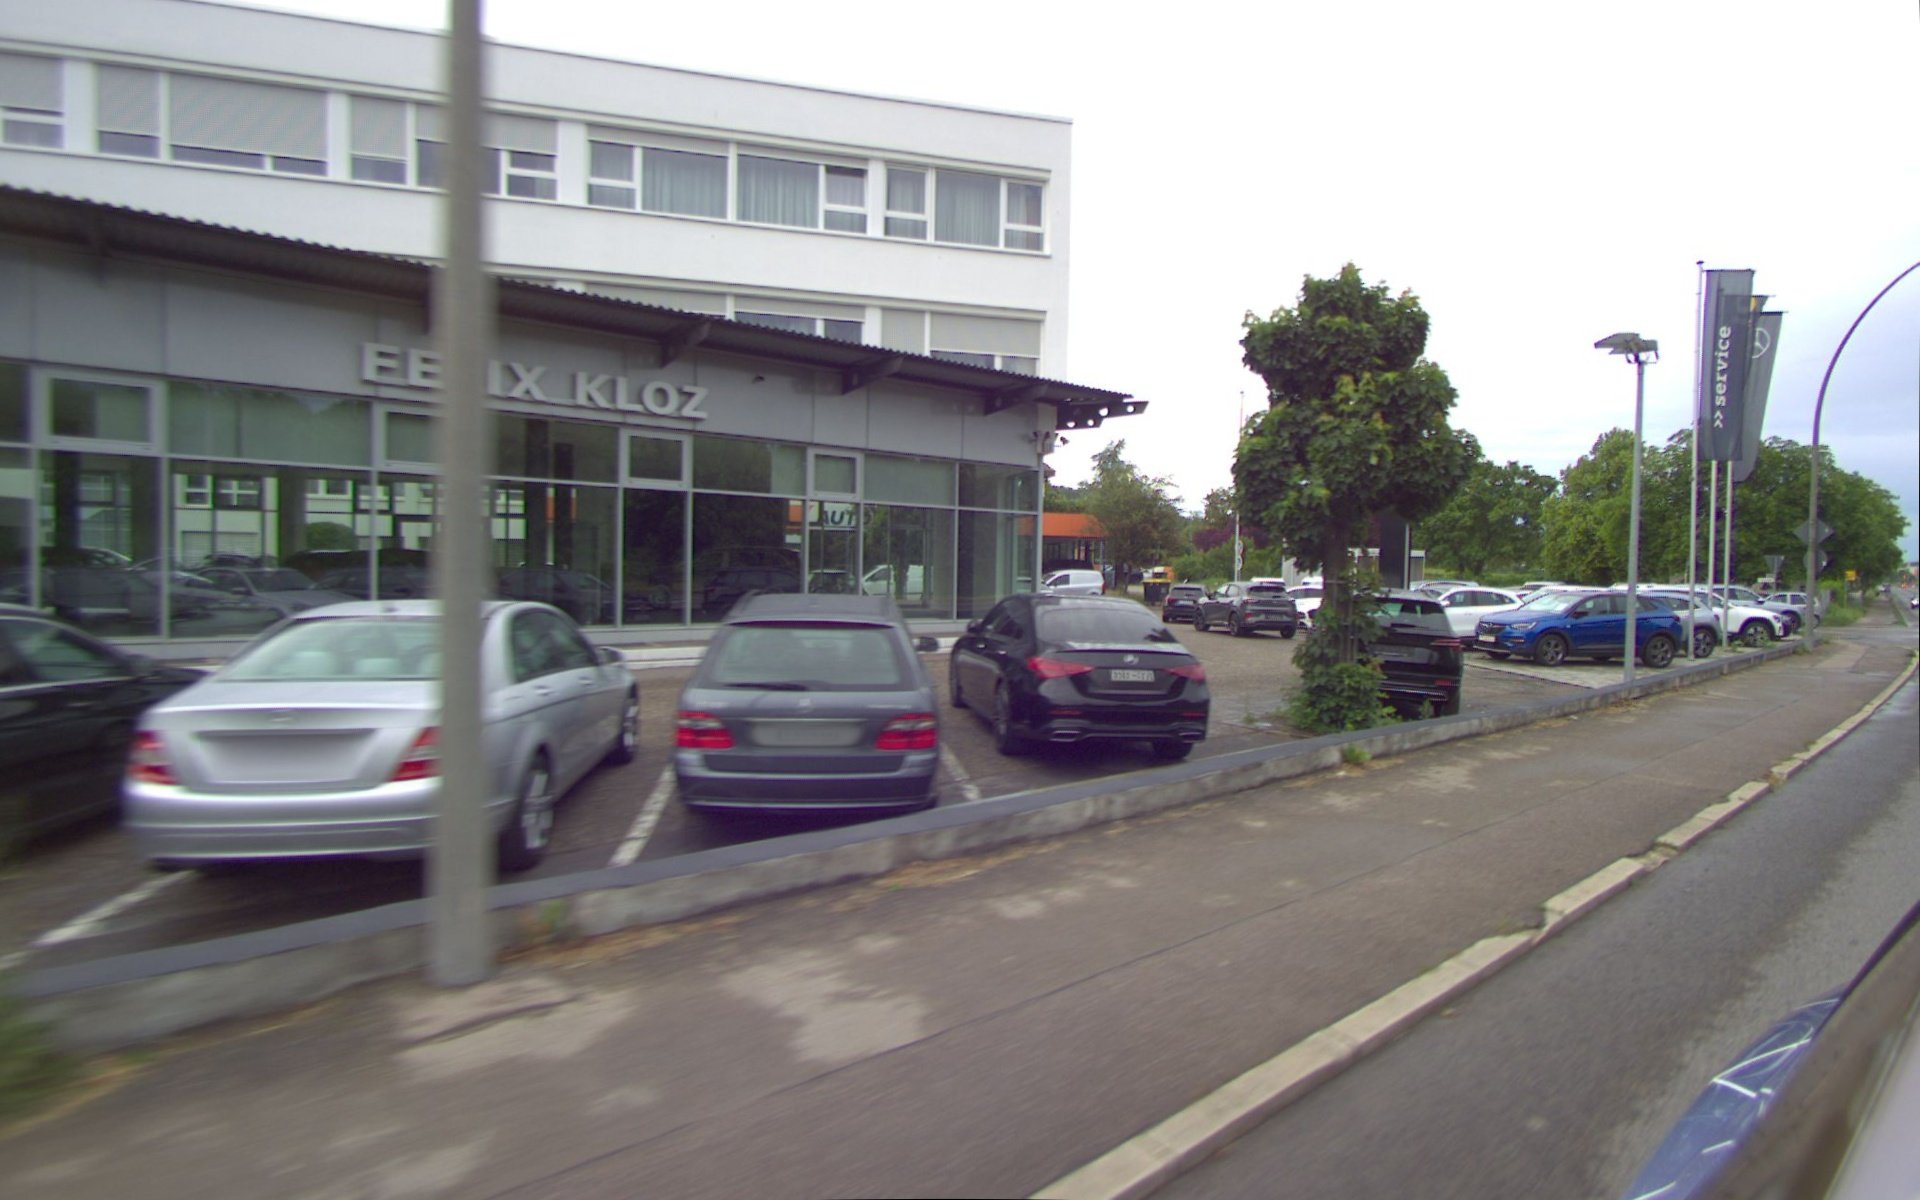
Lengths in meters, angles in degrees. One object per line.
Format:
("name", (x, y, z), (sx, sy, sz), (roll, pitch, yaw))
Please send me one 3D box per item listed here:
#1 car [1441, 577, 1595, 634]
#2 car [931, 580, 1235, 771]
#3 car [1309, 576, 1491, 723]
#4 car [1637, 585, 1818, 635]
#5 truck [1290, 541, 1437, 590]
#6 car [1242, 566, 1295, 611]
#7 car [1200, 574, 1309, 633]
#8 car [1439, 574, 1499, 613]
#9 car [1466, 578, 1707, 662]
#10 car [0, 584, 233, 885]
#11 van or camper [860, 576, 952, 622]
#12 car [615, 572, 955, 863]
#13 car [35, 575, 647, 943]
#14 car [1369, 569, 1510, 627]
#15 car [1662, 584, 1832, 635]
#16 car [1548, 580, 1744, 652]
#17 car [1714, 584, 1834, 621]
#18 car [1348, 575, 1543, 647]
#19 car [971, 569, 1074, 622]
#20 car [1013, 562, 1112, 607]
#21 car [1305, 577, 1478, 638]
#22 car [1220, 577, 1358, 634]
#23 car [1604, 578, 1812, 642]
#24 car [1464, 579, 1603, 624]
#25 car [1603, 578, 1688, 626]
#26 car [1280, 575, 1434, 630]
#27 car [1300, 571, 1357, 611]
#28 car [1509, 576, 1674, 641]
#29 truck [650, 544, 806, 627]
("car", (17.266, 0.141, 31.438), (3.845, 1.470, 1.686), (-2, 6, -5))
("car", (0.954, 0.574, 10.389), (1.894, 1.497, 4.451), (1, 1, -9))
("car", (5.904, 0.531, 14.082), (1.818, 1.628, 4.523), (2, 2, 18))
("car", (24.014, 0.289, 31.827), (4.084, 1.411, 1.843), (1, 1, 16))
("truck", (23.515, -2.011, 58.931), (8.299, 2.656, 2.794), (-1, 0, -22))
("car", (11.670, -0.449, 38.186), (1.750, 1.571, 3.429), (2, 1, 19))
("car", (8.388, 0.046, 29.130), (1.745, 1.496, 3.568), (2, 2, -6))
("car", (20.924, -0.268, 41.597), (2.055, 1.478, 4.720), (2, 1, 27))
("car", (13.864, 0.425, 22.517), (4.277, 1.652, 1.847), (1, 3, -7))
("car", (-5.853, 0.697, 5.242), (1.935, 1.511, 3.976), (-1, 0, -12))
("van or camper", (-2.523, -0.066, 46.743), (3.916, 2.066, 1.813), (0, 1, -17))
("car", (-1.144, 0.644, 7.697), (1.861, 1.575, 4.004), (-1, 0, -5))
("car", (-3.308, 0.636, 6.500), (1.800, 1.485, 4.182), (0, 3, -7))
("car", (16.035, -0.094, 33.927), (3.918, 1.742, 1.681), (-2, 0, -9))
("car", (26.871, 0.296, 34.655), (4.280, 1.691, 1.967), (0, 1, -2))
("car", (17.026, 0.380, 25.196), (3.737, 1.619, 1.735), (1, 2, -7))
("car", (37.089, 0.093, 46.193), (3.920, 1.566, 2.002), (1, 1, -5))
("car", (11.999, 0.262, 25.084), (4.092, 1.619, 1.736), (1, 2, -13))
("car", (1.846, -0.198, 31.664), (1.958, 1.460, 4.421), (2, 1, -14))
("car", (4.948, -0.761, 48.904), (4.357, 2.039, 1.837), (-1, 0, -19))
("car", (11.853, 0.183, 27.916), (3.918, 1.564, 1.907), (1, 1, -9))
("car", (10.863, 0.160, 33.542), (3.905, 1.662, 1.775), (-2, 0, -9))
("car", (21.484, 0.254, 29.257), (4.358, 1.673, 1.921), (1, 1, 11))
("car", (21.180, 0.046, 37.488), (4.050, 1.479, 1.771), (2, 1, 3))
("car", (26.144, 0.029, 38.534), (4.632, 1.694, 1.809), (-1, 1, -44))
("car", (12.042, 0.062, 30.798), (3.917, 1.564, 1.907), (1, 1, -10))
("car", (14.679, -0.363, 40.469), (1.747, 1.478, 3.981), (2, 1, 15))
("car", (17.301, 0.220, 27.813), (3.486, 1.619, 1.667), (1, 2, -7))
("truck", (-10.241, -0.655, 44.829), (6.510, 3.457, 2.577), (-1, 0, -14))
